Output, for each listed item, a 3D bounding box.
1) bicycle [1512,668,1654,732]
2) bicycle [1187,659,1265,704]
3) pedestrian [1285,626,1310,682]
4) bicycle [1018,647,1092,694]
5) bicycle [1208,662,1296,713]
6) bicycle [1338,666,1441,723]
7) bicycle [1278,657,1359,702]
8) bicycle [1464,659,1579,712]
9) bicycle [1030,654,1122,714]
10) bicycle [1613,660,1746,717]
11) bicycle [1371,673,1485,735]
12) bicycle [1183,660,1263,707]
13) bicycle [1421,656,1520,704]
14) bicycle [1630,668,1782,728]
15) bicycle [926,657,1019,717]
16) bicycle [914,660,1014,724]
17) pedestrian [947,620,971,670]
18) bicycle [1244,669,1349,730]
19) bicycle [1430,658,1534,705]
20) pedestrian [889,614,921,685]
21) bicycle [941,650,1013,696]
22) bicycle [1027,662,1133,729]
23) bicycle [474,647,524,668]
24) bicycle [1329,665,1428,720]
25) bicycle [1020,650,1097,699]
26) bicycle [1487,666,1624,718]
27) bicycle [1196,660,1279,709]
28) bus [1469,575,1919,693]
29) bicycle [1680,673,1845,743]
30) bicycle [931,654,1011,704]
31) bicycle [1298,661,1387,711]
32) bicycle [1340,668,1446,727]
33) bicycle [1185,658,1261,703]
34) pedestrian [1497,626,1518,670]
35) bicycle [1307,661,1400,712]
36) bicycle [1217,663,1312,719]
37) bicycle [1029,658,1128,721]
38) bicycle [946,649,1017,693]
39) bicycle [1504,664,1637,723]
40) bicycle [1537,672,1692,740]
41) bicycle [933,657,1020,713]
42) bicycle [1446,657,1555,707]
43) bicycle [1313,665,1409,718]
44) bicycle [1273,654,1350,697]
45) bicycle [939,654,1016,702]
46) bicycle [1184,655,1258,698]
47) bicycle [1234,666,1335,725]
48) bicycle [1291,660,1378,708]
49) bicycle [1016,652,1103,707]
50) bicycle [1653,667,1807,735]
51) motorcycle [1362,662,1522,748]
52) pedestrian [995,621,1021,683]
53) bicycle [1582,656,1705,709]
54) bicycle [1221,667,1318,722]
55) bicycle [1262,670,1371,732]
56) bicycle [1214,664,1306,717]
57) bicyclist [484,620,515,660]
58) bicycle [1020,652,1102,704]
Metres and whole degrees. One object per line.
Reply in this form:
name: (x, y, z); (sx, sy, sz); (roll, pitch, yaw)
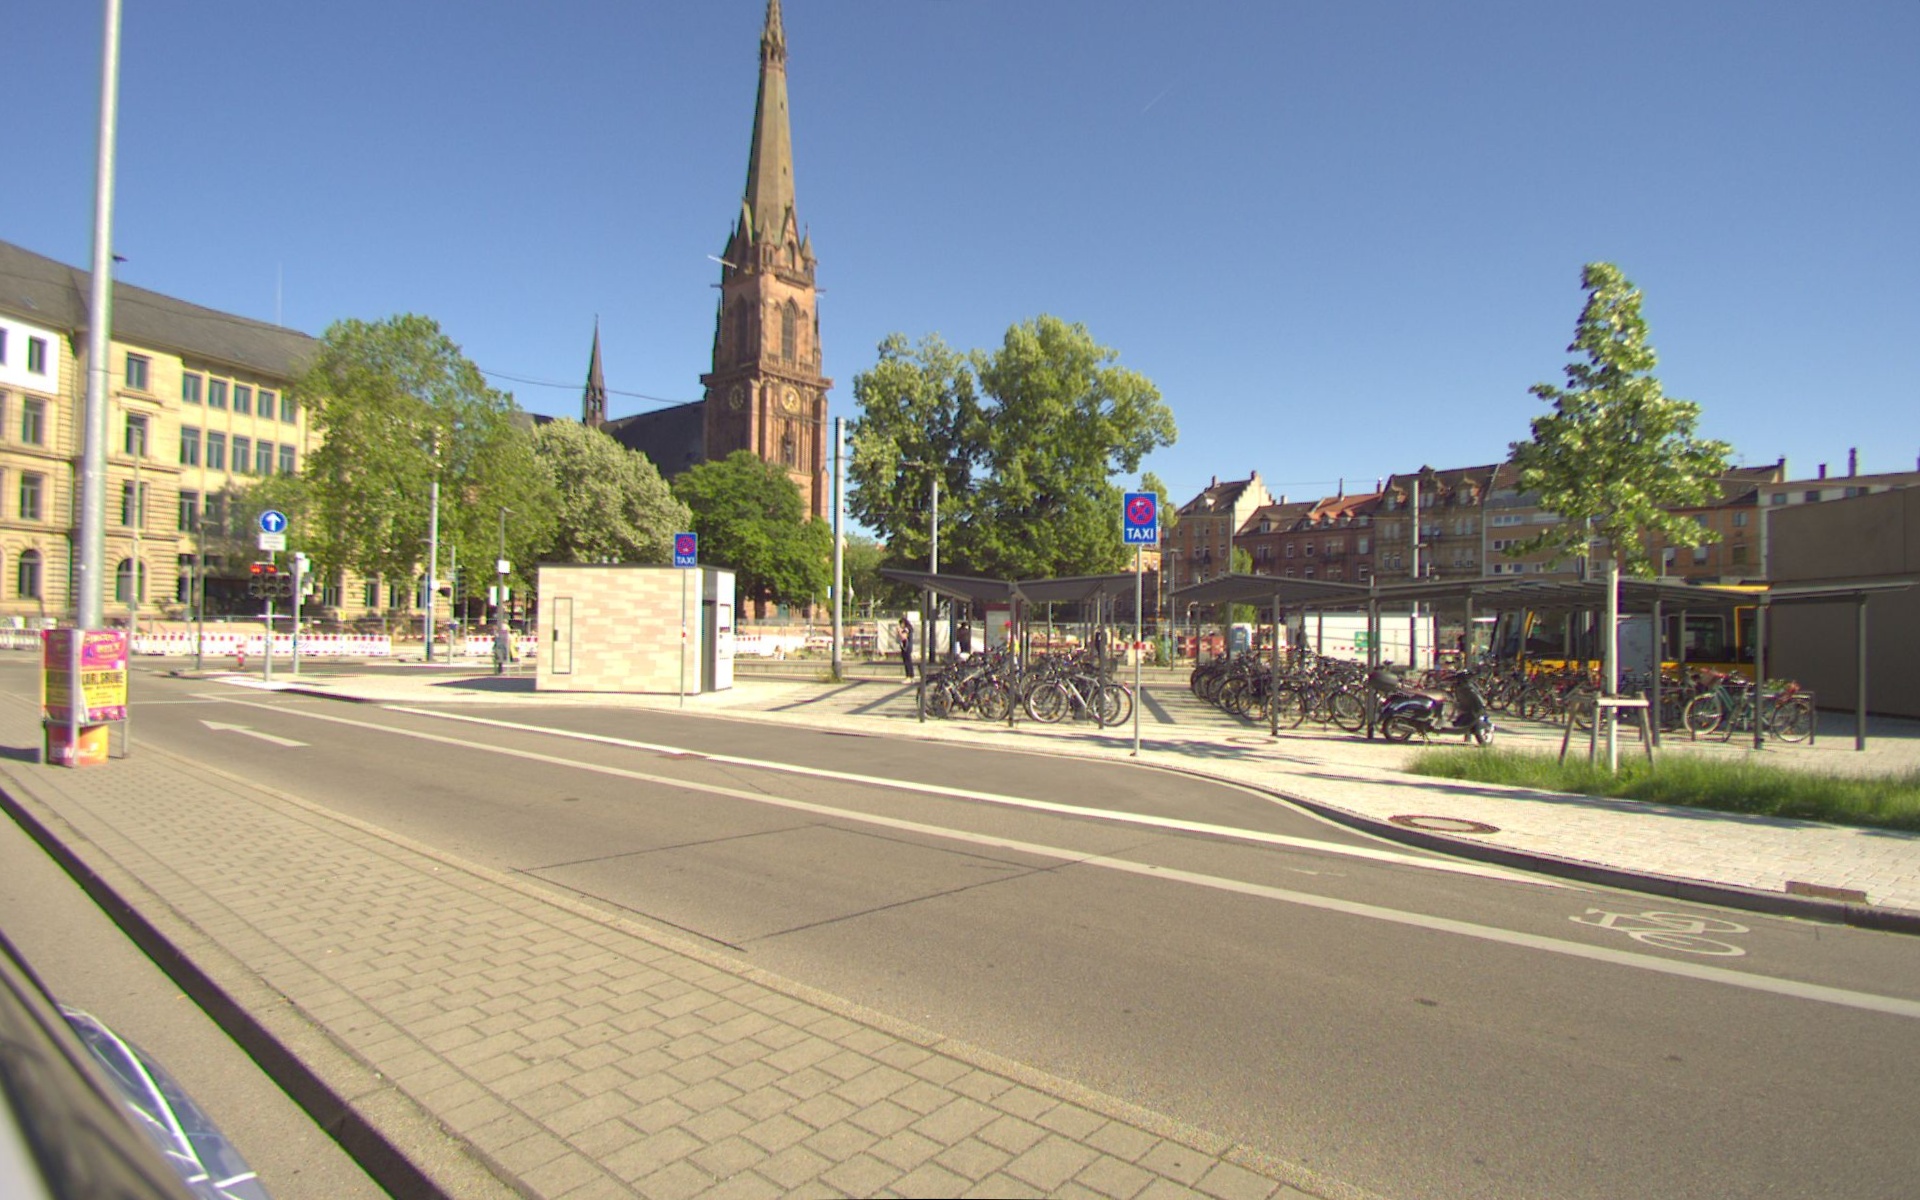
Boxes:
bicycle: (10.845, 1.737, 17.659); (2.048, 1.045, 0.533); (-1, 0, 8)
bicycle: (6.055, 1.857, 23.053); (1.661, 0.980, 0.406); (1, -5, 3)
pedestrian: (11.725, 1.861, 35.155); (0.765, 1.931, 0.798); (0, -2, 22)
bicycle: (2.316, 1.721, 24.679); (1.755, 1.083, 0.406); (1, 0, 6)
bicycle: (5.927, 1.782, 20.566); (1.661, 0.980, 0.406); (1, -5, 3)
bicycle: (7.825, 1.720, 18.461); (1.661, 0.980, 0.406); (-1, 0, 3)
bicycle: (8.075, 1.786, 22.840); (1.661, 0.980, 0.406); (-1, 0, 3)
bicycle: (11.778, 1.792, 21.266); (2.048, 1.045, 0.533); (-1, 2, 8)
bicycle: (2.237, 1.618, 19.584); (1.755, 1.083, 0.406); (1, 0, 6)
bicycle: (13.854, 1.697, 19.527); (2.048, 1.045, 0.533); (-1, 0, 8)
bicycle: (7.770, 1.721, 16.823); (1.661, 0.980, 0.406); (-1, 0, 3)
bicycle: (5.788, 1.835, 22.298); (1.661, 0.980, 0.406); (1, -5, 3)
bicycle: (12.302, 1.916, 24.431); (2.048, 1.045, 0.533); (1, 3, 8)
bicycle: (13.481, 1.760, 18.331); (2.117, 1.005, 0.690); (-1, 0, 7)
bicycle: (0.233, 1.595, 18.603); (1.663, 1.006, 0.406); (2, 0, 8)
bicycle: (0.069, 1.572, 17.384); (1.663, 1.006, 0.406); (2, 0, 8)
pedestrian: (-0.026, 1.731, 39.014); (0.610, 1.874, 0.703); (2, -2, -39)
bicycle: (5.796, 1.707, 17.464); (1.661, 0.980, 0.406); (1, 0, 3)
bicycle: (12.033, 1.876, 23.376); (2.048, 1.045, 0.533); (-1, -4, 8)
pedestrian: (-1.469, 1.312, 27.045); (0.695, 1.874, 0.618); (0, -2, 12)
bicycle: (0.395, 1.699, 23.664); (1.663, 1.006, 0.406); (0, 0, 8)
bicycle: (2.024, 1.604, 17.094); (1.753, 1.083, 0.406); (1, -3, 6)
bicycle: (-18.368, 2.272, 40.355); (0.734, 0.788, 2.044); (0, -2, 12)
bicycle: (7.844, 1.728, 19.014); (1.661, 0.980, 0.406); (-1, 0, 3)
bicycle: (2.274, 1.729, 23.500); (1.755, 1.083, 0.406); (1, 0, 6)
bicycle: (11.616, 1.795, 19.792); (2.208, 0.951, 0.685); (-1, 0, 7)
bicycle: (5.927, 1.803, 21.641); (1.661, 0.980, 0.406); (1, -5, 3)
bus: (22.070, 0.930, 28.635); (13.462, 3.095, 2.859); (0, -2, 6)
bicycle: (12.769, 1.712, 16.139); (2.048, 1.045, 0.533); (-1, 0, 8)
bicycle: (0.231, 1.674, 21.405); (1.663, 1.006, 0.406); (0, 0, 8)
bicycle: (7.863, 1.758, 20.827); (1.661, 0.980, 0.406); (-1, 0, 3)
bicycle: (7.645, 1.722, 17.894); (1.661, 0.980, 0.406); (-1, 0, 3)
bicycle: (6.139, 1.879, 23.626); (1.661, 0.980, 0.406); (1, -5, 3)
pedestrian: (23.874, 2.102, 44.161); (0.637, 1.885, 0.529); (0, -2, 5)
bicycle: (7.859, 1.728, 20.230); (1.661, 0.980, 0.406); (-1, 0, 3)
bicycle: (5.816, 1.735, 19.377); (1.661, 0.980, 0.406); (1, 0, 3)
bicycle: (2.141, 1.615, 18.338); (1.753, 1.083, 0.406); (1, 0, 6)
bicycle: (0.519, 1.700, 24.189); (1.663, 1.006, 0.406); (0, 0, 8)
bicycle: (11.324, 1.730, 18.814); (2.048, 1.045, 0.533); (-1, 0, 8)
bicycle: (10.574, 1.708, 16.391); (2.048, 1.045, 0.533); (-1, 0, 8)
bicycle: (0.330, 1.662, 19.946); (1.663, 1.006, 0.406); (2, 0, 8)
bicycle: (11.868, 1.799, 22.257); (2.048, 1.045, 0.533); (-1, 2, 8)
bicycle: (7.718, 1.760, 19.531); (1.661, 0.980, 0.406); (-1, 0, 3)
bicycle: (8.293, 1.782, 23.916); (1.661, 0.980, 0.406); (-1, 0, 3)
bicycle: (0.387, 1.703, 22.286); (1.663, 1.006, 0.406); (0, 0, 8)
bicycle: (6.258, 1.834, 24.313); (1.661, 0.980, 0.406); (1, -5, 3)
bicycle: (5.817, 1.707, 18.190); (1.661, 0.980, 0.406); (1, 0, 3)
bicycle: (7.990, 1.787, 21.625); (1.661, 0.980, 0.406); (-1, 0, 3)
bicycle: (2.055, 1.640, 20.974); (1.755, 1.083, 0.406); (1, 0, 6)
bicycle: (12.991, 1.694, 17.117); (2.030, 1.087, 0.604); (-1, 0, 7)
motorcycle: (7.195, 1.568, 15.161); (2.059, 1.228, 0.569); (-1, -2, 3)
pedestrian: (1.296, 1.403, 27.385); (0.693, 1.635, 0.620); (0, -2, 4)
bicycle: (14.080, 1.693, 20.879); (2.048, 1.045, 0.533); (-1, 0, 8)
bicycle: (5.730, 1.747, 18.770); (1.661, 0.980, 0.406); (-1, 0, 3)
bicycle: (5.935, 1.682, 16.891); (1.661, 0.980, 0.406); (-1, 0, 3)
bicycle: (5.903, 1.778, 19.960); (1.661, 0.980, 0.406); (1, 0, 3)
bicyclist: (-18.369, 1.597, 40.417); (0.733, 1.583, 0.883); (0, -2, 11)
bicycle: (2.195, 1.692, 22.030); (1.755, 1.083, 0.406); (1, 0, 6)
